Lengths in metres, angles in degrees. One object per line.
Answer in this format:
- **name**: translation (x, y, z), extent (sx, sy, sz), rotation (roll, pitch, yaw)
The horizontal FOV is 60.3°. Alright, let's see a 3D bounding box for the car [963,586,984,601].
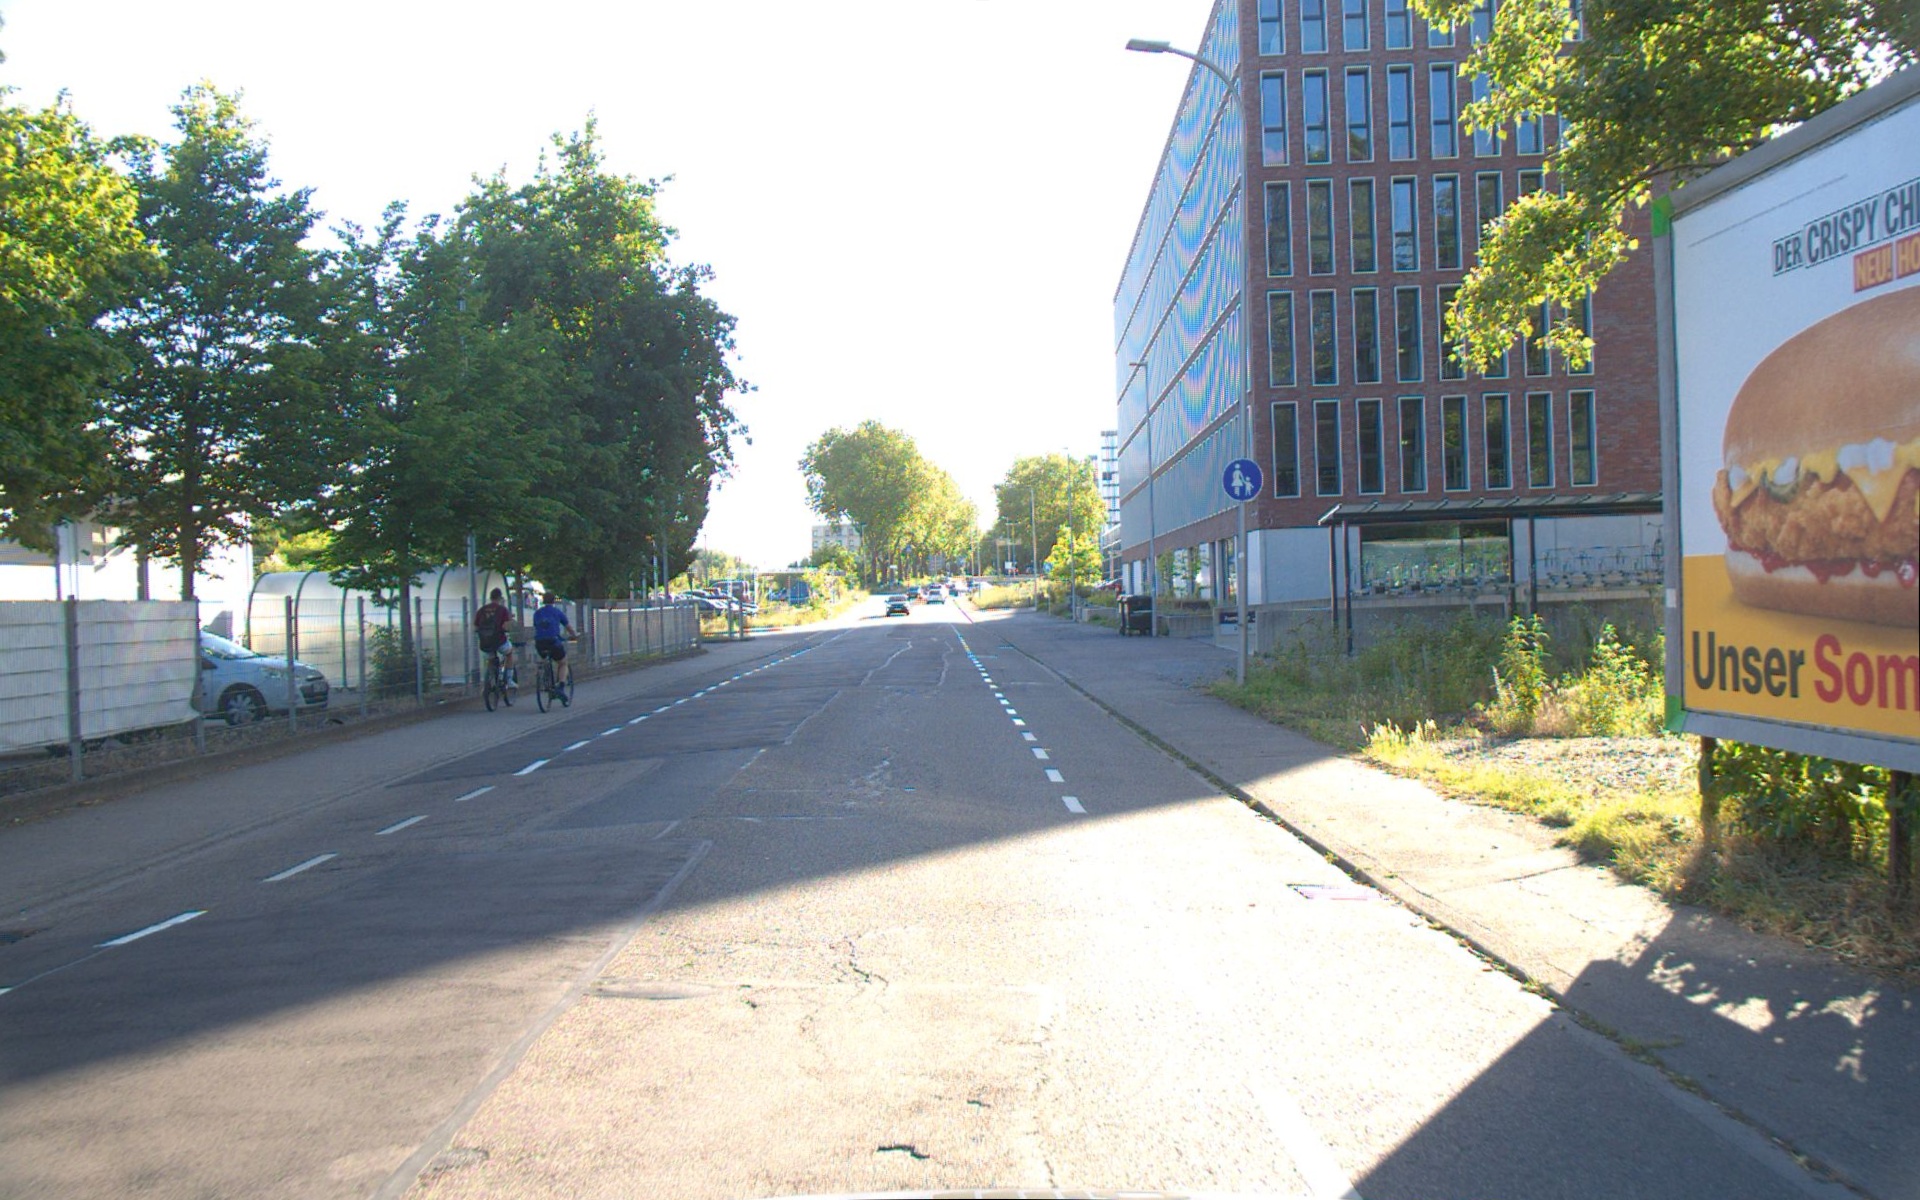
- **car**: translation (1.626, -0.813, 200.900), extent (2.121, 1.713, 3.997), rotation (-2, 0, -4)

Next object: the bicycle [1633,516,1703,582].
- **bicycle**: translation (15.096, -1.074, 35.318), extent (0.618, 1.344, 1.989), rotation (-1, 0, -1)

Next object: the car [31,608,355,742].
- **car**: translation (-11.167, 1.065, 24.289), extent (3.814, 1.537, 1.784), rotation (-5, 1, -4)

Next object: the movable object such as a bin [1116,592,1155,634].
- **movable object such as a bin**: translation (6.001, 0.447, 56.568), extent (1.106, 1.359, 1.345), rotation (-2, 1, -2)

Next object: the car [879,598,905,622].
- **car**: translation (-5.053, 0.749, 123.724), extent (1.706, 1.552, 4.110), rotation (-5, 1, -1)

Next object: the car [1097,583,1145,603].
- **car**: translation (14.101, -0.612, 145.209), extent (4.097, 1.608, 1.852), rotation (-2, 0, 2)

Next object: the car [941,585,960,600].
- **car**: translation (-1.076, -0.892, 195.446), extent (2.119, 1.713, 4.000), rotation (-2, 0, 0)

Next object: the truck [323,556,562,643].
- **truck**: translation (-23.447, -0.027, 75.275), extent (9.895, 3.678, 2.775), rotation (-1, 0, -2)

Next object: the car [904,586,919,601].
- **car**: translation (-5.464, -0.719, 187.625), extent (1.620, 1.529, 3.999), rotation (-3, 0, -1)

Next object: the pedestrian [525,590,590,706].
- **pedestrian**: translation (-6.309, 0.733, 25.976), extent (0.706, 1.750, 1.057), rotation (-2, 0, -1)

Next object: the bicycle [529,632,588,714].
- **bicycle**: translation (-6.323, 1.121, 26.121), extent (0.437, 1.168, 2.200), rotation (0, 1, -1)

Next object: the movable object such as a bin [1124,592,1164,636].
- **movable object such as a bin**: translation (6.113, 0.441, 54.949), extent (1.106, 1.395, 1.345), rotation (-2, 1, -2)

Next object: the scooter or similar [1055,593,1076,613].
- **scooter or similar**: translation (6.941, 0.215, 109.071), extent (1.312, 1.267, 0.424), rotation (-2, 0, 3)

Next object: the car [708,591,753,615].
- **car**: translation (-26.841, 0.335, 193.553), extent (4.994, 2.502, 2.319), rotation (-2, 0, -2)

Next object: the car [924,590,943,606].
- **car**: translation (-2.630, -0.174, 163.916), extent (1.753, 1.445, 4.001), rotation (-1, 1, 0)

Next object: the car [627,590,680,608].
- **car**: translation (-26.559, -0.122, 143.557), extent (4.233, 1.417, 1.878), rotation (-1, 1, -1)

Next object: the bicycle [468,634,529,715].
- **bicycle**: translation (-7.250, 1.155, 26.062), extent (0.460, 1.168, 1.869), rotation (0, 1, -1)

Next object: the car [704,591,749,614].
- **car**: translation (-26.920, 0.293, 190.882), extent (4.827, 2.502, 2.319), rotation (-2, 0, -2)

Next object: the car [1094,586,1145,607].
- **car**: translation (13.338, -0.284, 138.407), extent (4.097, 1.608, 1.852), rotation (-2, 0, 2)

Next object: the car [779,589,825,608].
- **car**: translation (-17.009, -0.125, 177.786), extent (4.748, 1.867, 1.999), rotation (-2, 0, -2)

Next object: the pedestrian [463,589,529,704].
- **pedestrian**: translation (-7.295, 0.717, 26.045), extent (0.706, 1.750, 1.057), rotation (-2, 0, -1)
